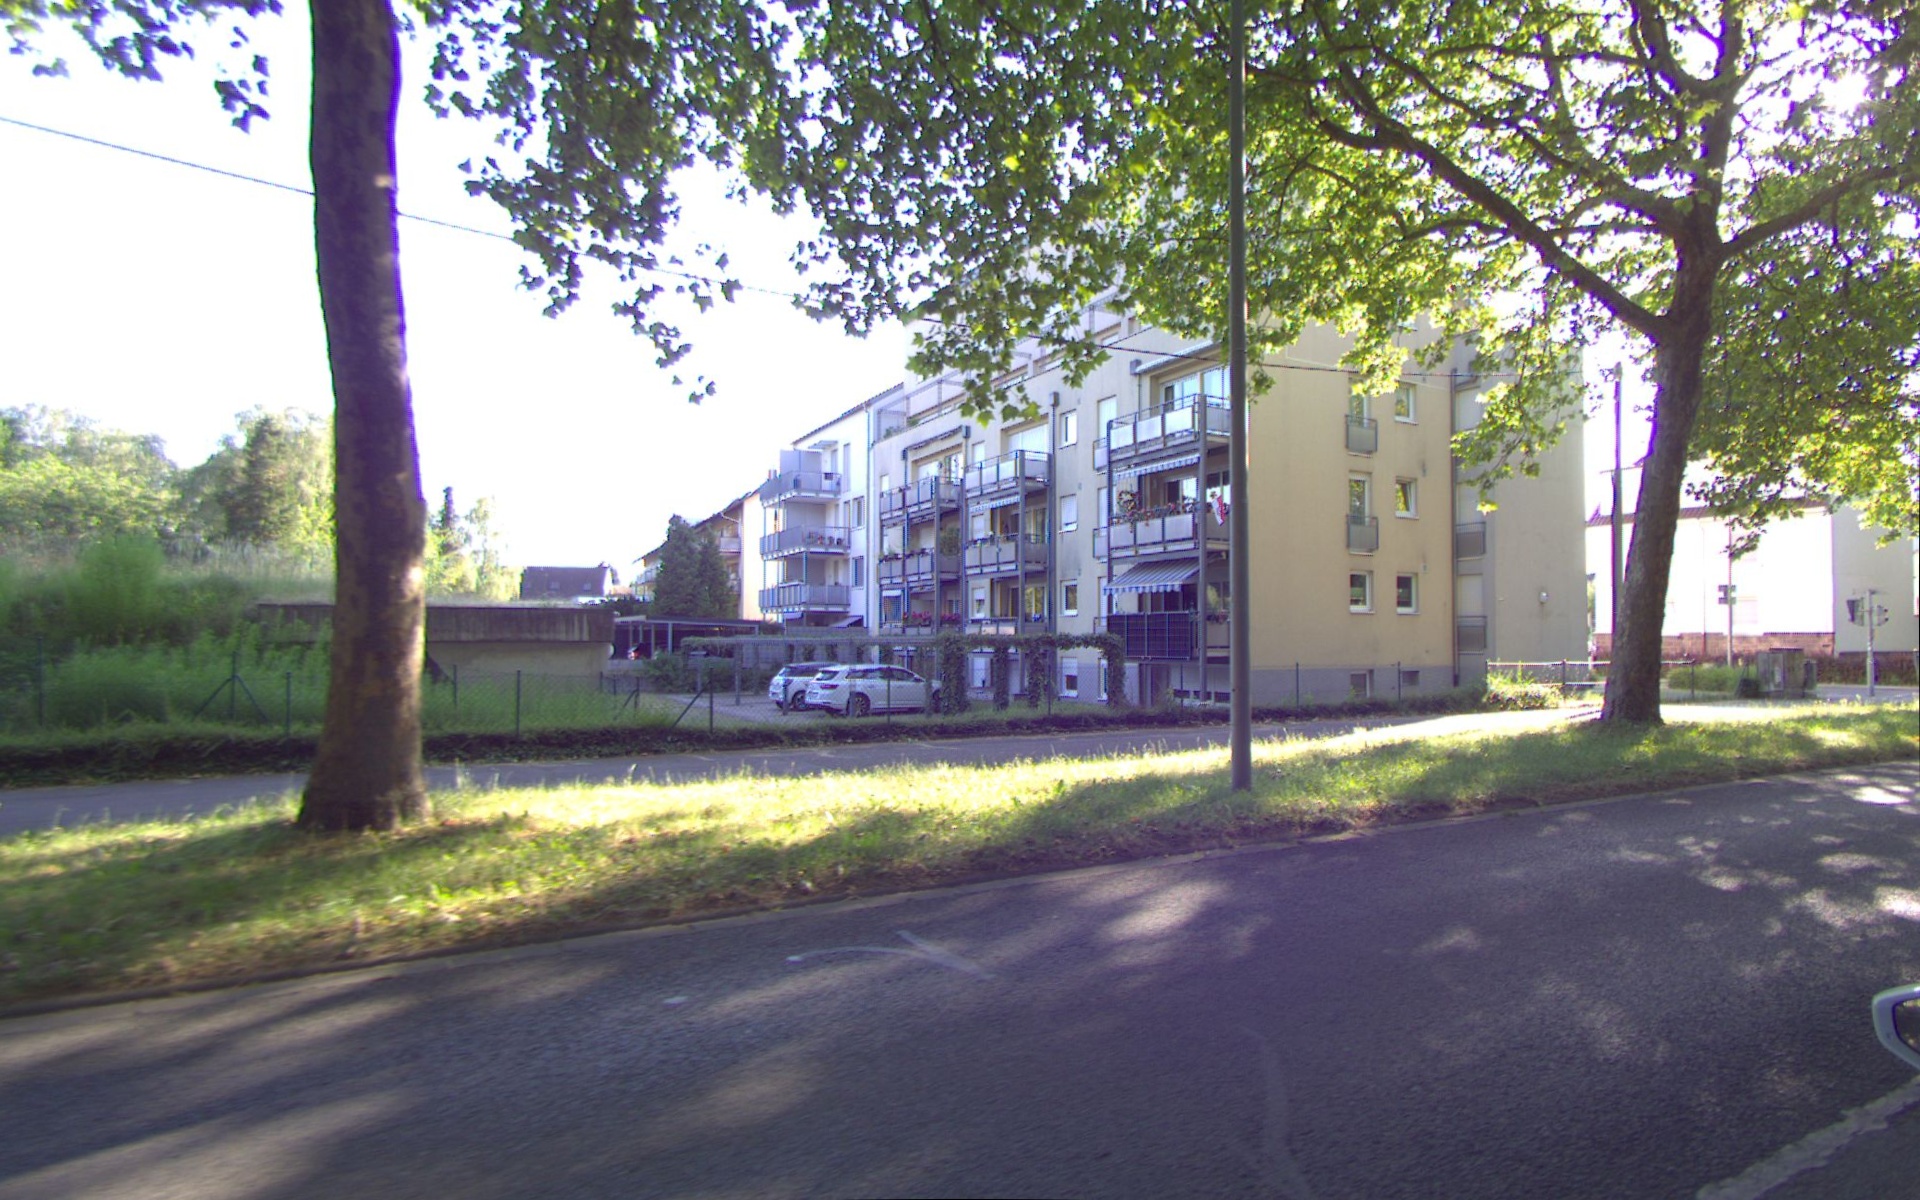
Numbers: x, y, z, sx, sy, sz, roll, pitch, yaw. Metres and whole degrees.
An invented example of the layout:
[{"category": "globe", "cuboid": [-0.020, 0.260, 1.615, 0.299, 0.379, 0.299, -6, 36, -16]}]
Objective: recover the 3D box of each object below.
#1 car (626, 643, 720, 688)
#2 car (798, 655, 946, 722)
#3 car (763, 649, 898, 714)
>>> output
[{"category": "car", "cuboid": [-13.638, 3.077, 47.811, 3.953, 2.040, 1.985, 1, -3, -30]}, {"category": "car", "cuboid": [-2.619, 2.580, 30.013, 3.958, 1.736, 1.981, 1, -1, -34]}, {"category": "car", "cuboid": [-4.188, 2.575, 32.592, 3.953, 1.871, 1.840, 1, -1, -31]}]
